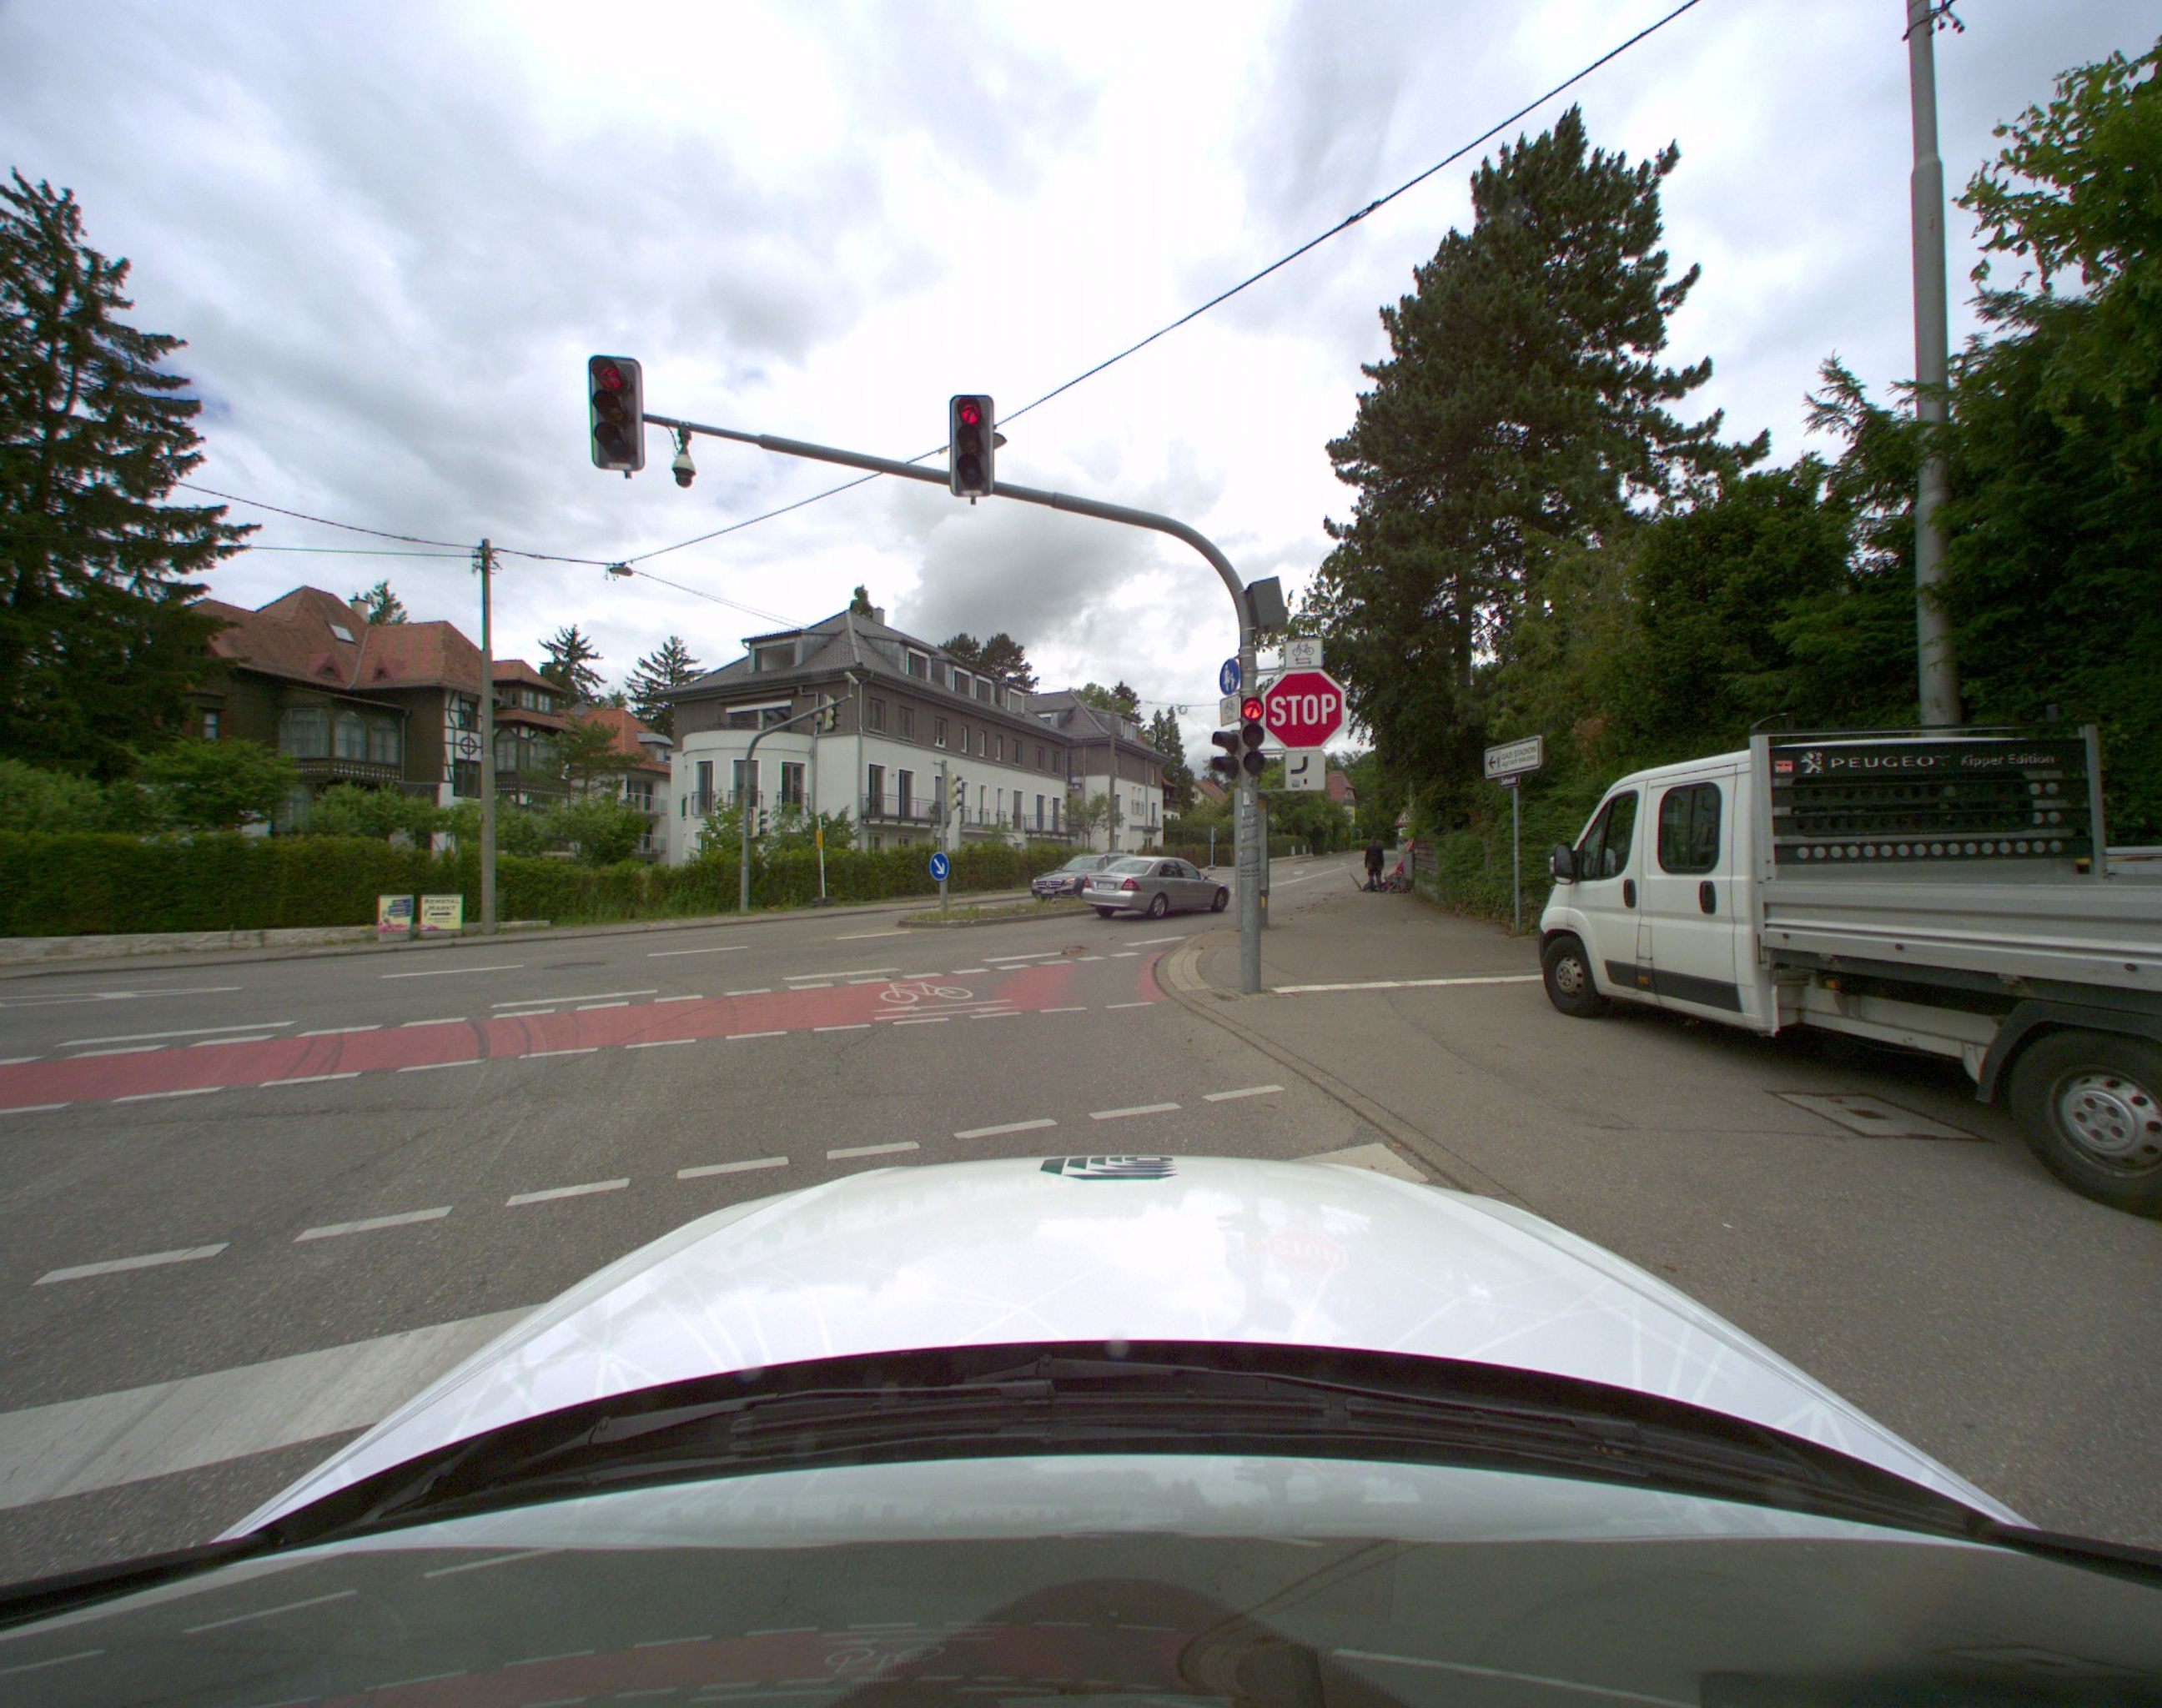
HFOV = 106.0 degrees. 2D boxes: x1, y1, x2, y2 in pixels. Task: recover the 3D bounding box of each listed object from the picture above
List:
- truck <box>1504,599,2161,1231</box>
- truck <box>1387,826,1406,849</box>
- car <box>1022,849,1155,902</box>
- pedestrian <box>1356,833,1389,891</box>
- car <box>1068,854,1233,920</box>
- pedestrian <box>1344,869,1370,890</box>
[{"bbox_3d":[5.362,0.239,5.243,2.386,2.351,6.195,0,-1,4],"label":"truck"},{"bbox_3d":[50.534,-2.552,130.370,2.753,3.461,7.533,-1,-1,21],"label":"truck"},{"bbox_3d":[0.367,0.649,26.325,1.807,1.485,4.778,-2,0,36],"label":"car"},{"bbox_3d":[9.755,0.257,27.247,0.842,1.923,0.802,-1,0,4],"label":"pedestrian"},{"bbox_3d":[1.801,0.718,19.757,1.780,1.415,4.363,-1,-1,40],"label":"car"},{"bbox_3d":[9.579,0.879,28.257,0.646,0.696,0.581,-1,0,-18],"label":"pedestrian"}]
